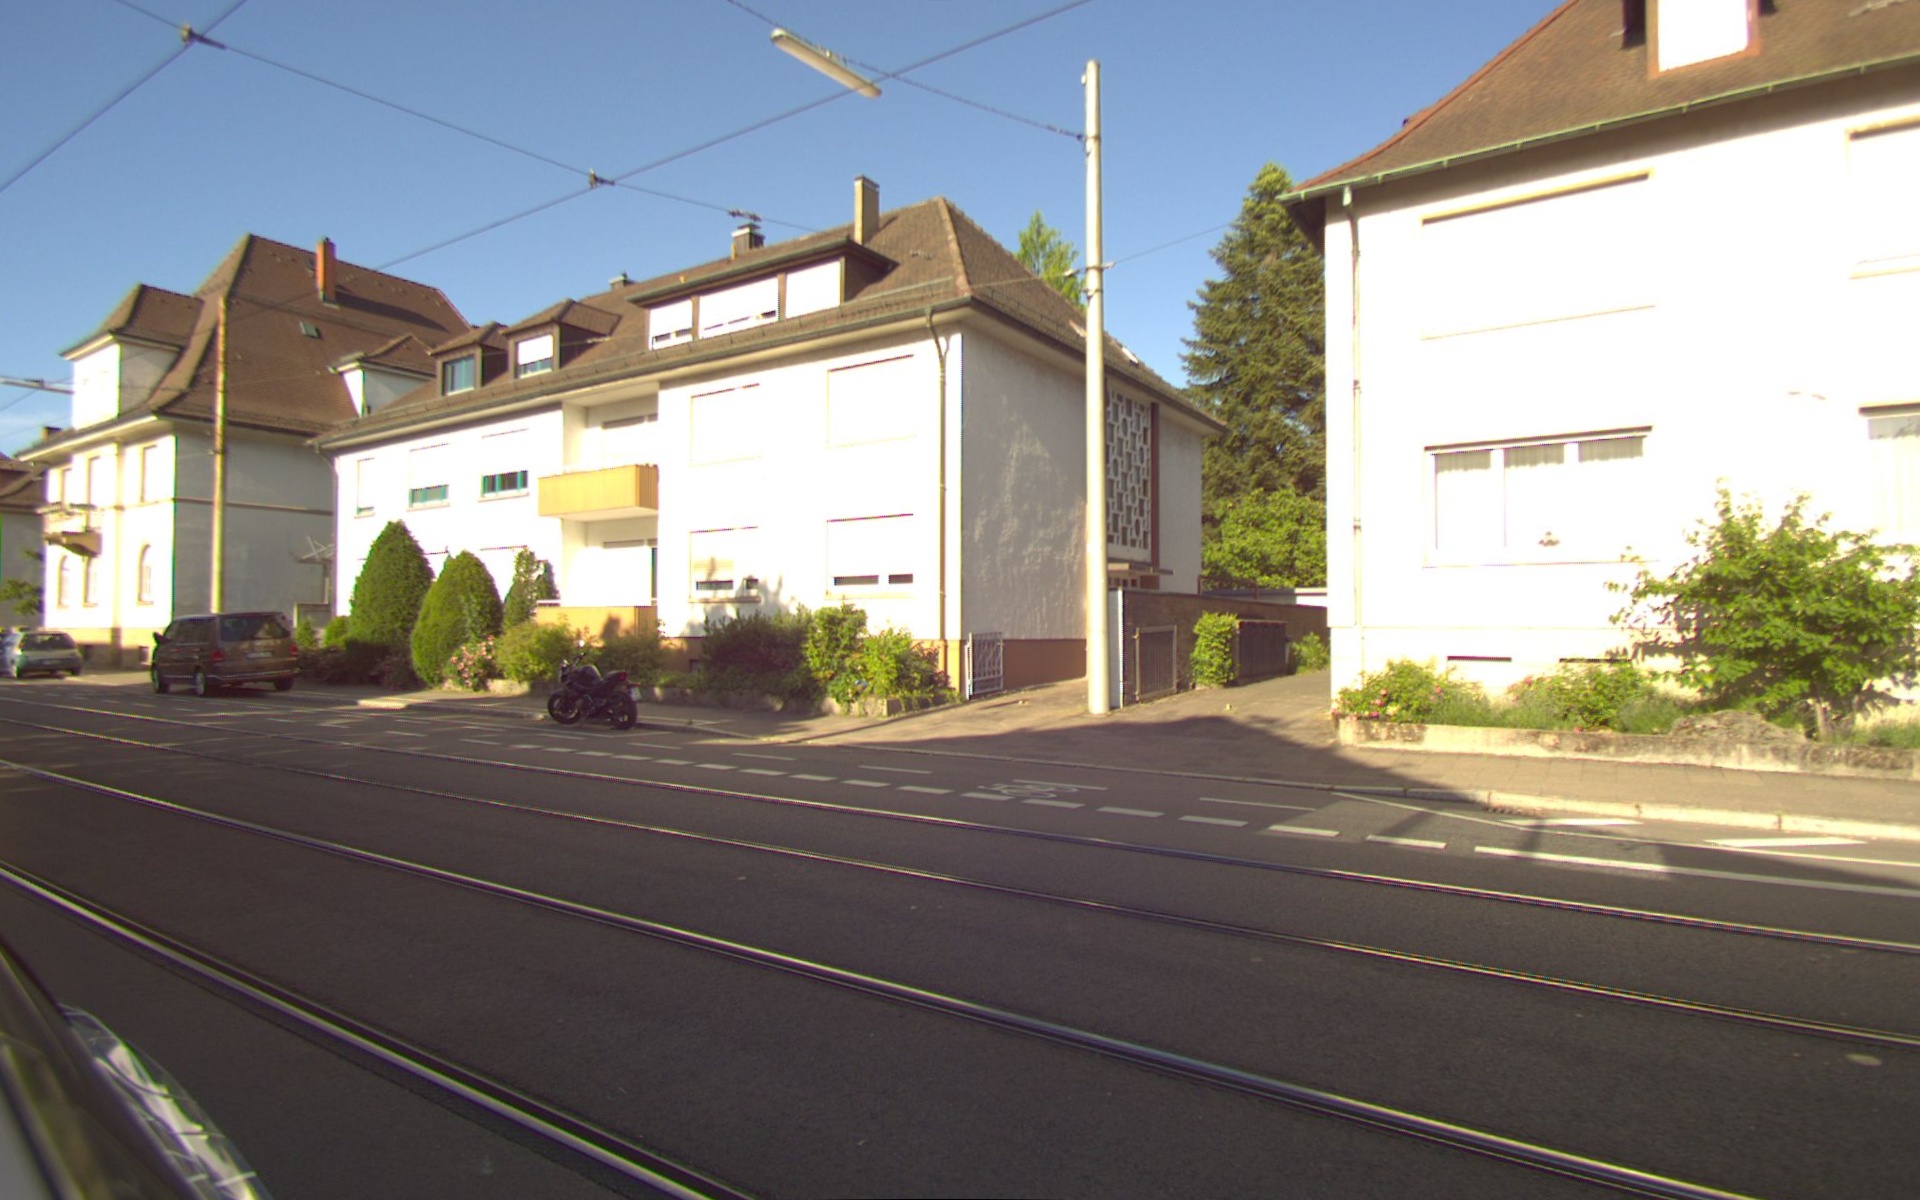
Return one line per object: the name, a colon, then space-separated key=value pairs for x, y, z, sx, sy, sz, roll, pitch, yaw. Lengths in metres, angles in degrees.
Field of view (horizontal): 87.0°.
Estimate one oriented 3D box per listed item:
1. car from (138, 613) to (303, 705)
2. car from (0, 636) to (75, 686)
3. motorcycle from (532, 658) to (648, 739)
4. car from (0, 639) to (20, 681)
car: x=-18.252 y=1.382 z=24.900 sx=4.939 sy=2.029 sz=1.889 roll=-1 pitch=-1 yaw=36
car: x=-30.314 y=1.929 z=32.732 sx=3.825 sy=1.488 sz=1.663 roll=-1 pitch=-1 yaw=34
motorcycle: x=-5.858 y=1.520 z=15.949 sx=2.166 sy=1.171 sz=0.531 roll=-1 pitch=-4 yaw=35
car: x=-35.394 y=2.118 z=36.029 sx=4.234 sy=1.488 sz=1.651 roll=-1 pitch=-2 yaw=30
